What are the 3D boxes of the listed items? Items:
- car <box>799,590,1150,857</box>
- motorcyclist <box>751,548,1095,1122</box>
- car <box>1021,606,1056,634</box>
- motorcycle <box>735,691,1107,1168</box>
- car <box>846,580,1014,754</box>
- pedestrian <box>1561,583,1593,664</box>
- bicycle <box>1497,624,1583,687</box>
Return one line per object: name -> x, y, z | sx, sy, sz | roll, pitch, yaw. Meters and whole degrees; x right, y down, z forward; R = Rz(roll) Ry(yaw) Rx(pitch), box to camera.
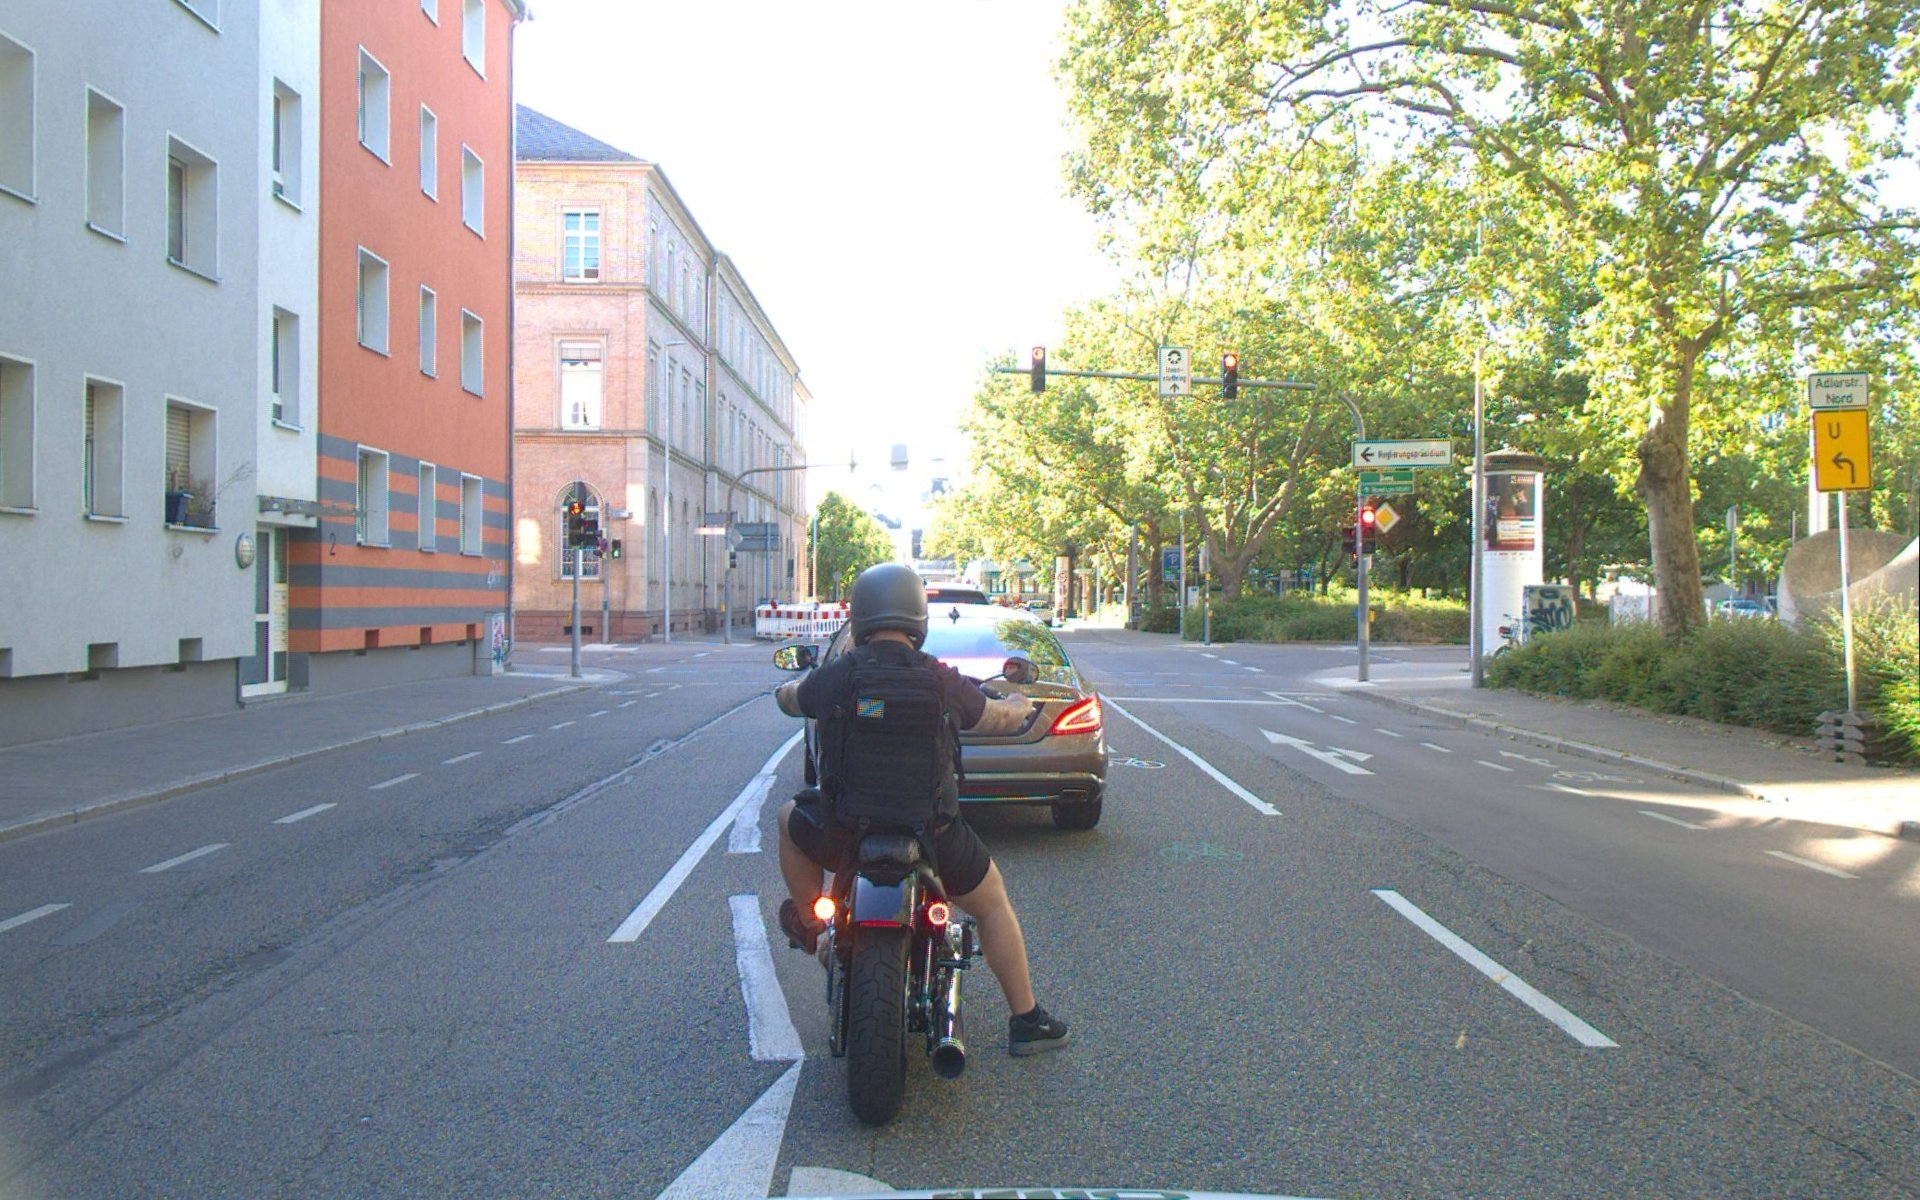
car -> -0.114, 0.684, 11.586 | 1.909, 1.498, 4.355 | 0, 0, -7
motorcyclist -> -0.113, 0.663, 5.392 | 0.969, 1.625, 1.403 | 0, 0, -1
car -> 4.490, 1.119, 95.015 | 1.784, 1.506, 3.908 | -1, 0, 0
motorcycle -> -0.118, 0.926, 5.546 | 0.969, 1.097, 2.451 | 0, 0, -1
car -> -0.336, 0.619, 17.749 | 1.580, 1.636, 4.327 | 0, 0, -2
pedestrian -> 14.499, 0.547, 38.882 | 0.540, 1.881, 0.593 | 0, 0, 0
bicycle -> 9.738, 0.922, 27.769 | 1.324, 1.041, 0.363 | 0, 0, 0
